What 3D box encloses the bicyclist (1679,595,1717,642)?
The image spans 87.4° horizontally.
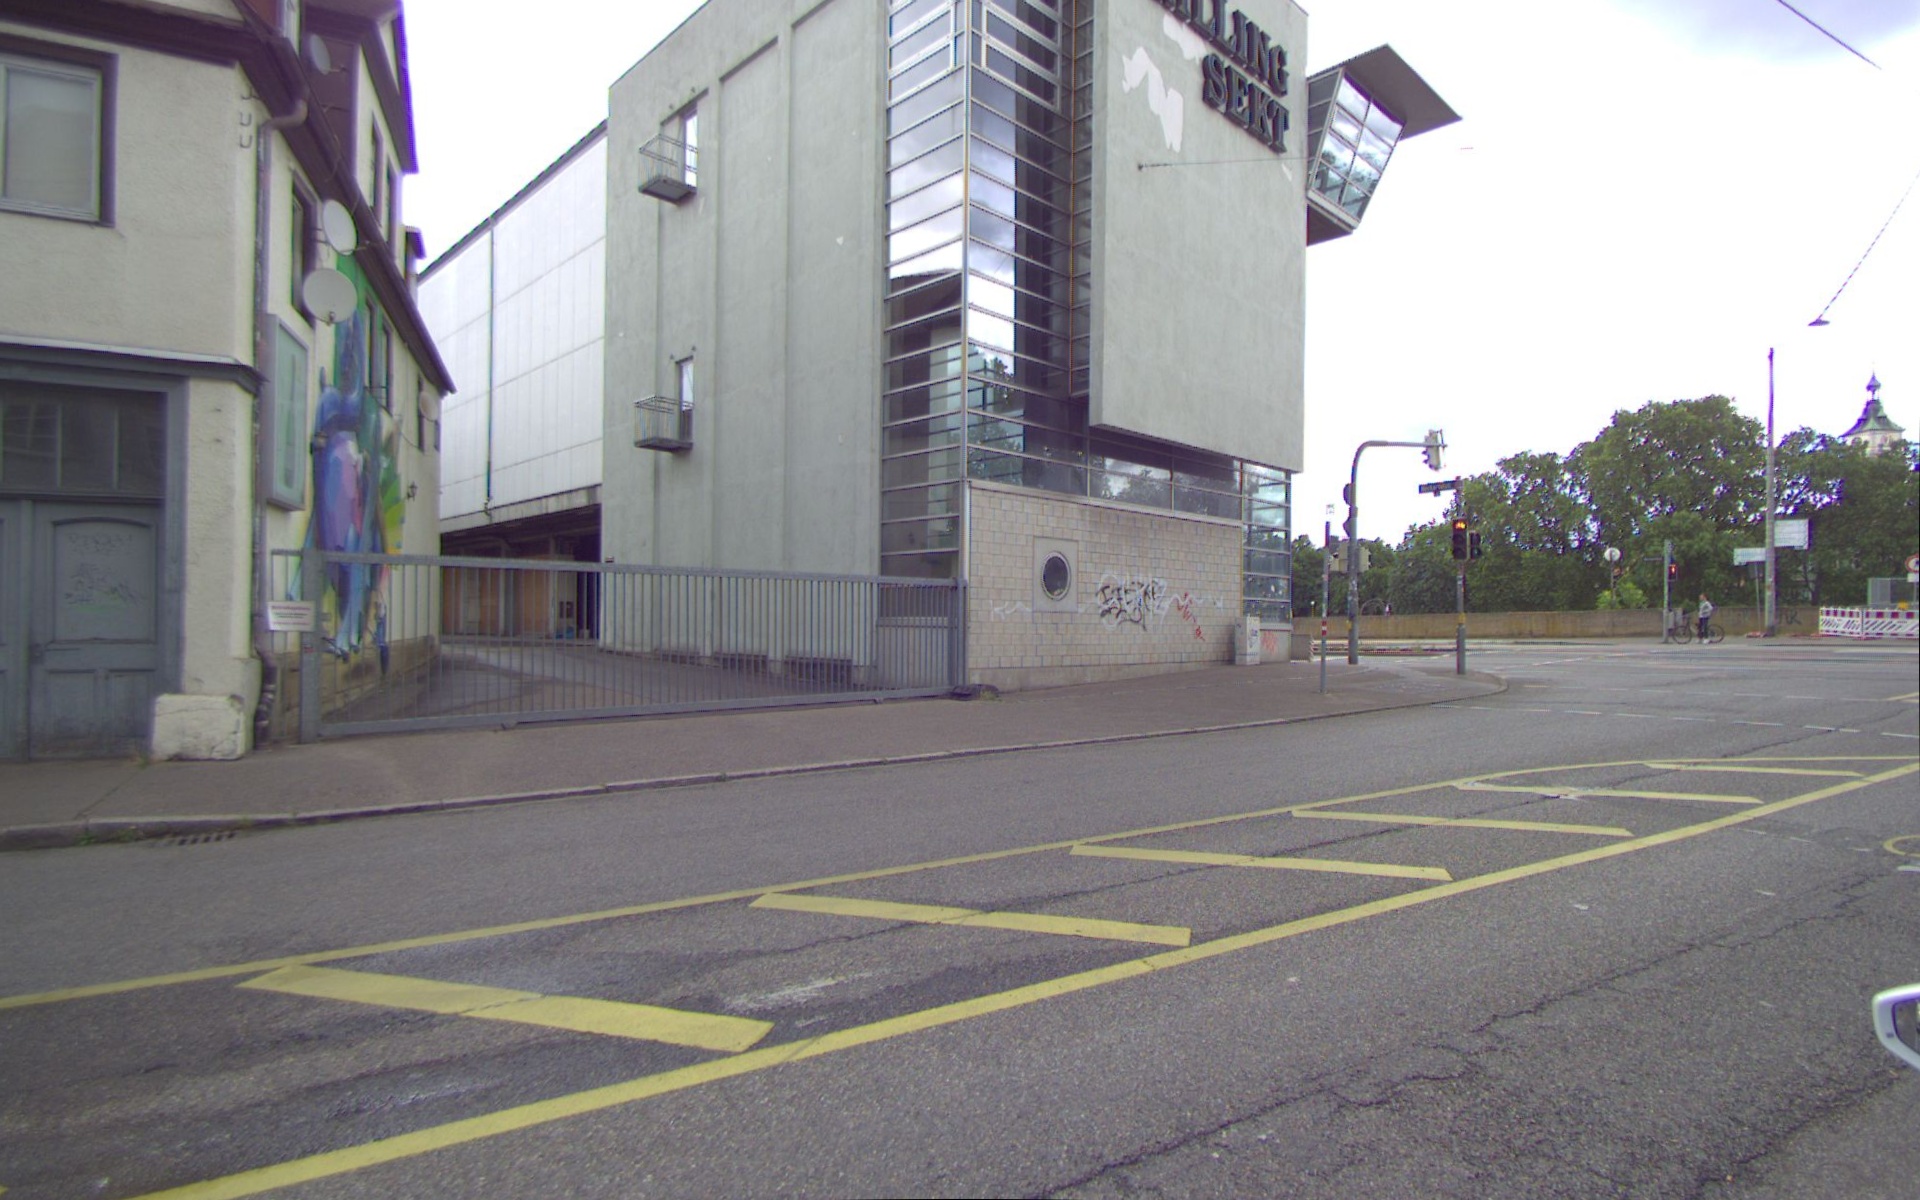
[{"bbox_3d":[28.580,0.707,38.897,0.985,1.767,0.755,0,0,19],"label":"bicyclist"}]

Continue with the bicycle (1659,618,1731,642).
[{"bbox_3d":[28.478,1.156,38.947,2.096,0.904,0.760,-1,0,20],"label":"bicycle"}]
